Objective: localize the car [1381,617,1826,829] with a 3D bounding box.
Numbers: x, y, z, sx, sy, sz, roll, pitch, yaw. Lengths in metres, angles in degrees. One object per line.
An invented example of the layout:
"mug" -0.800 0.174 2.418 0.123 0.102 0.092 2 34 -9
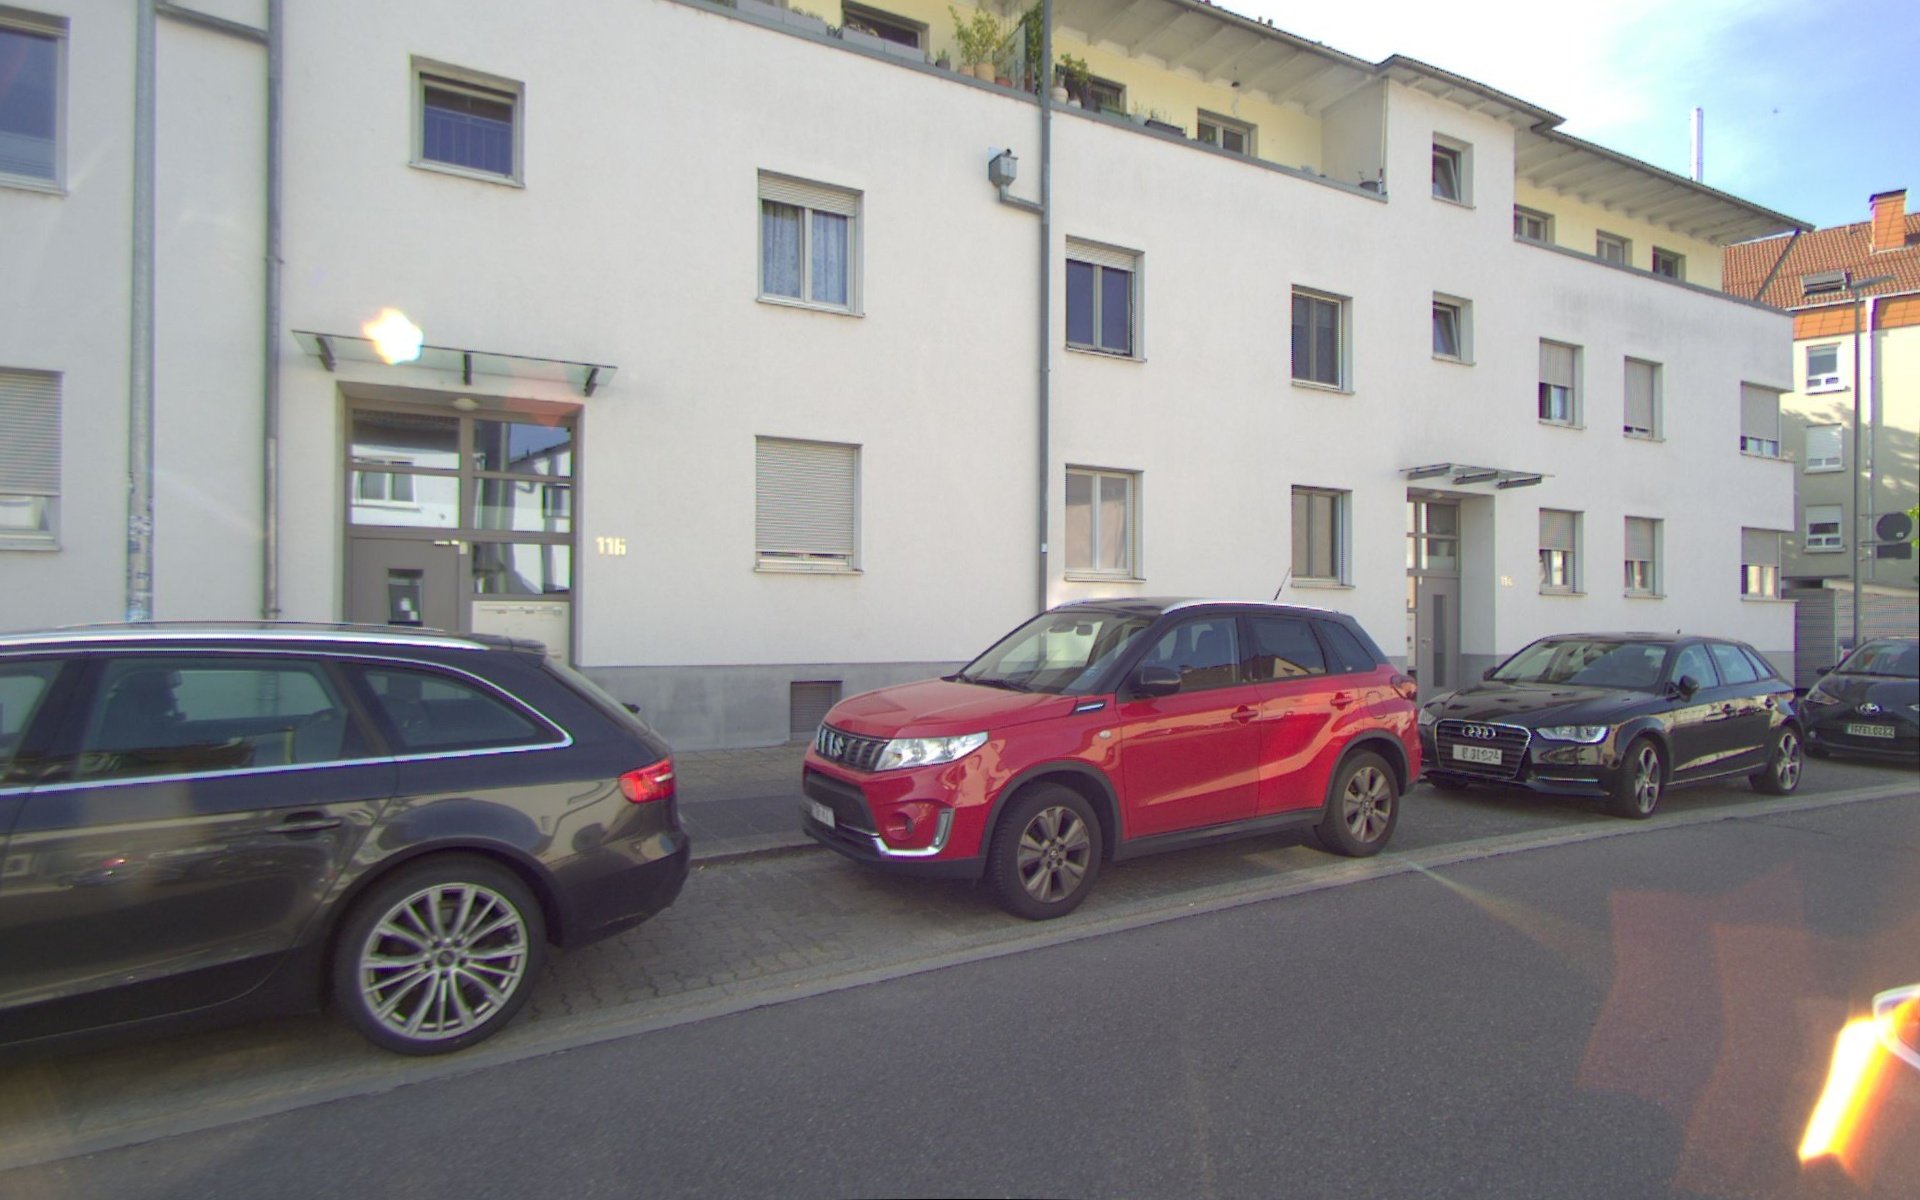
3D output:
"car" 5.866 0.924 9.029 4.215 1.497 1.718 1 -1 -32

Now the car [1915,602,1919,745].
"car" 15.624 1.052 14.200 4.381 1.987 1.721 1 0 -27

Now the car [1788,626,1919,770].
"car" 11.382 1.063 11.719 3.470 1.484 1.486 1 0 -29

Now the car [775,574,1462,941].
"car" 1.130 0.741 6.355 4.215 1.643 1.718 1 -1 -32

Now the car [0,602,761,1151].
"car" -3.123 0.772 3.504 4.453 1.497 1.717 1 0 -33
